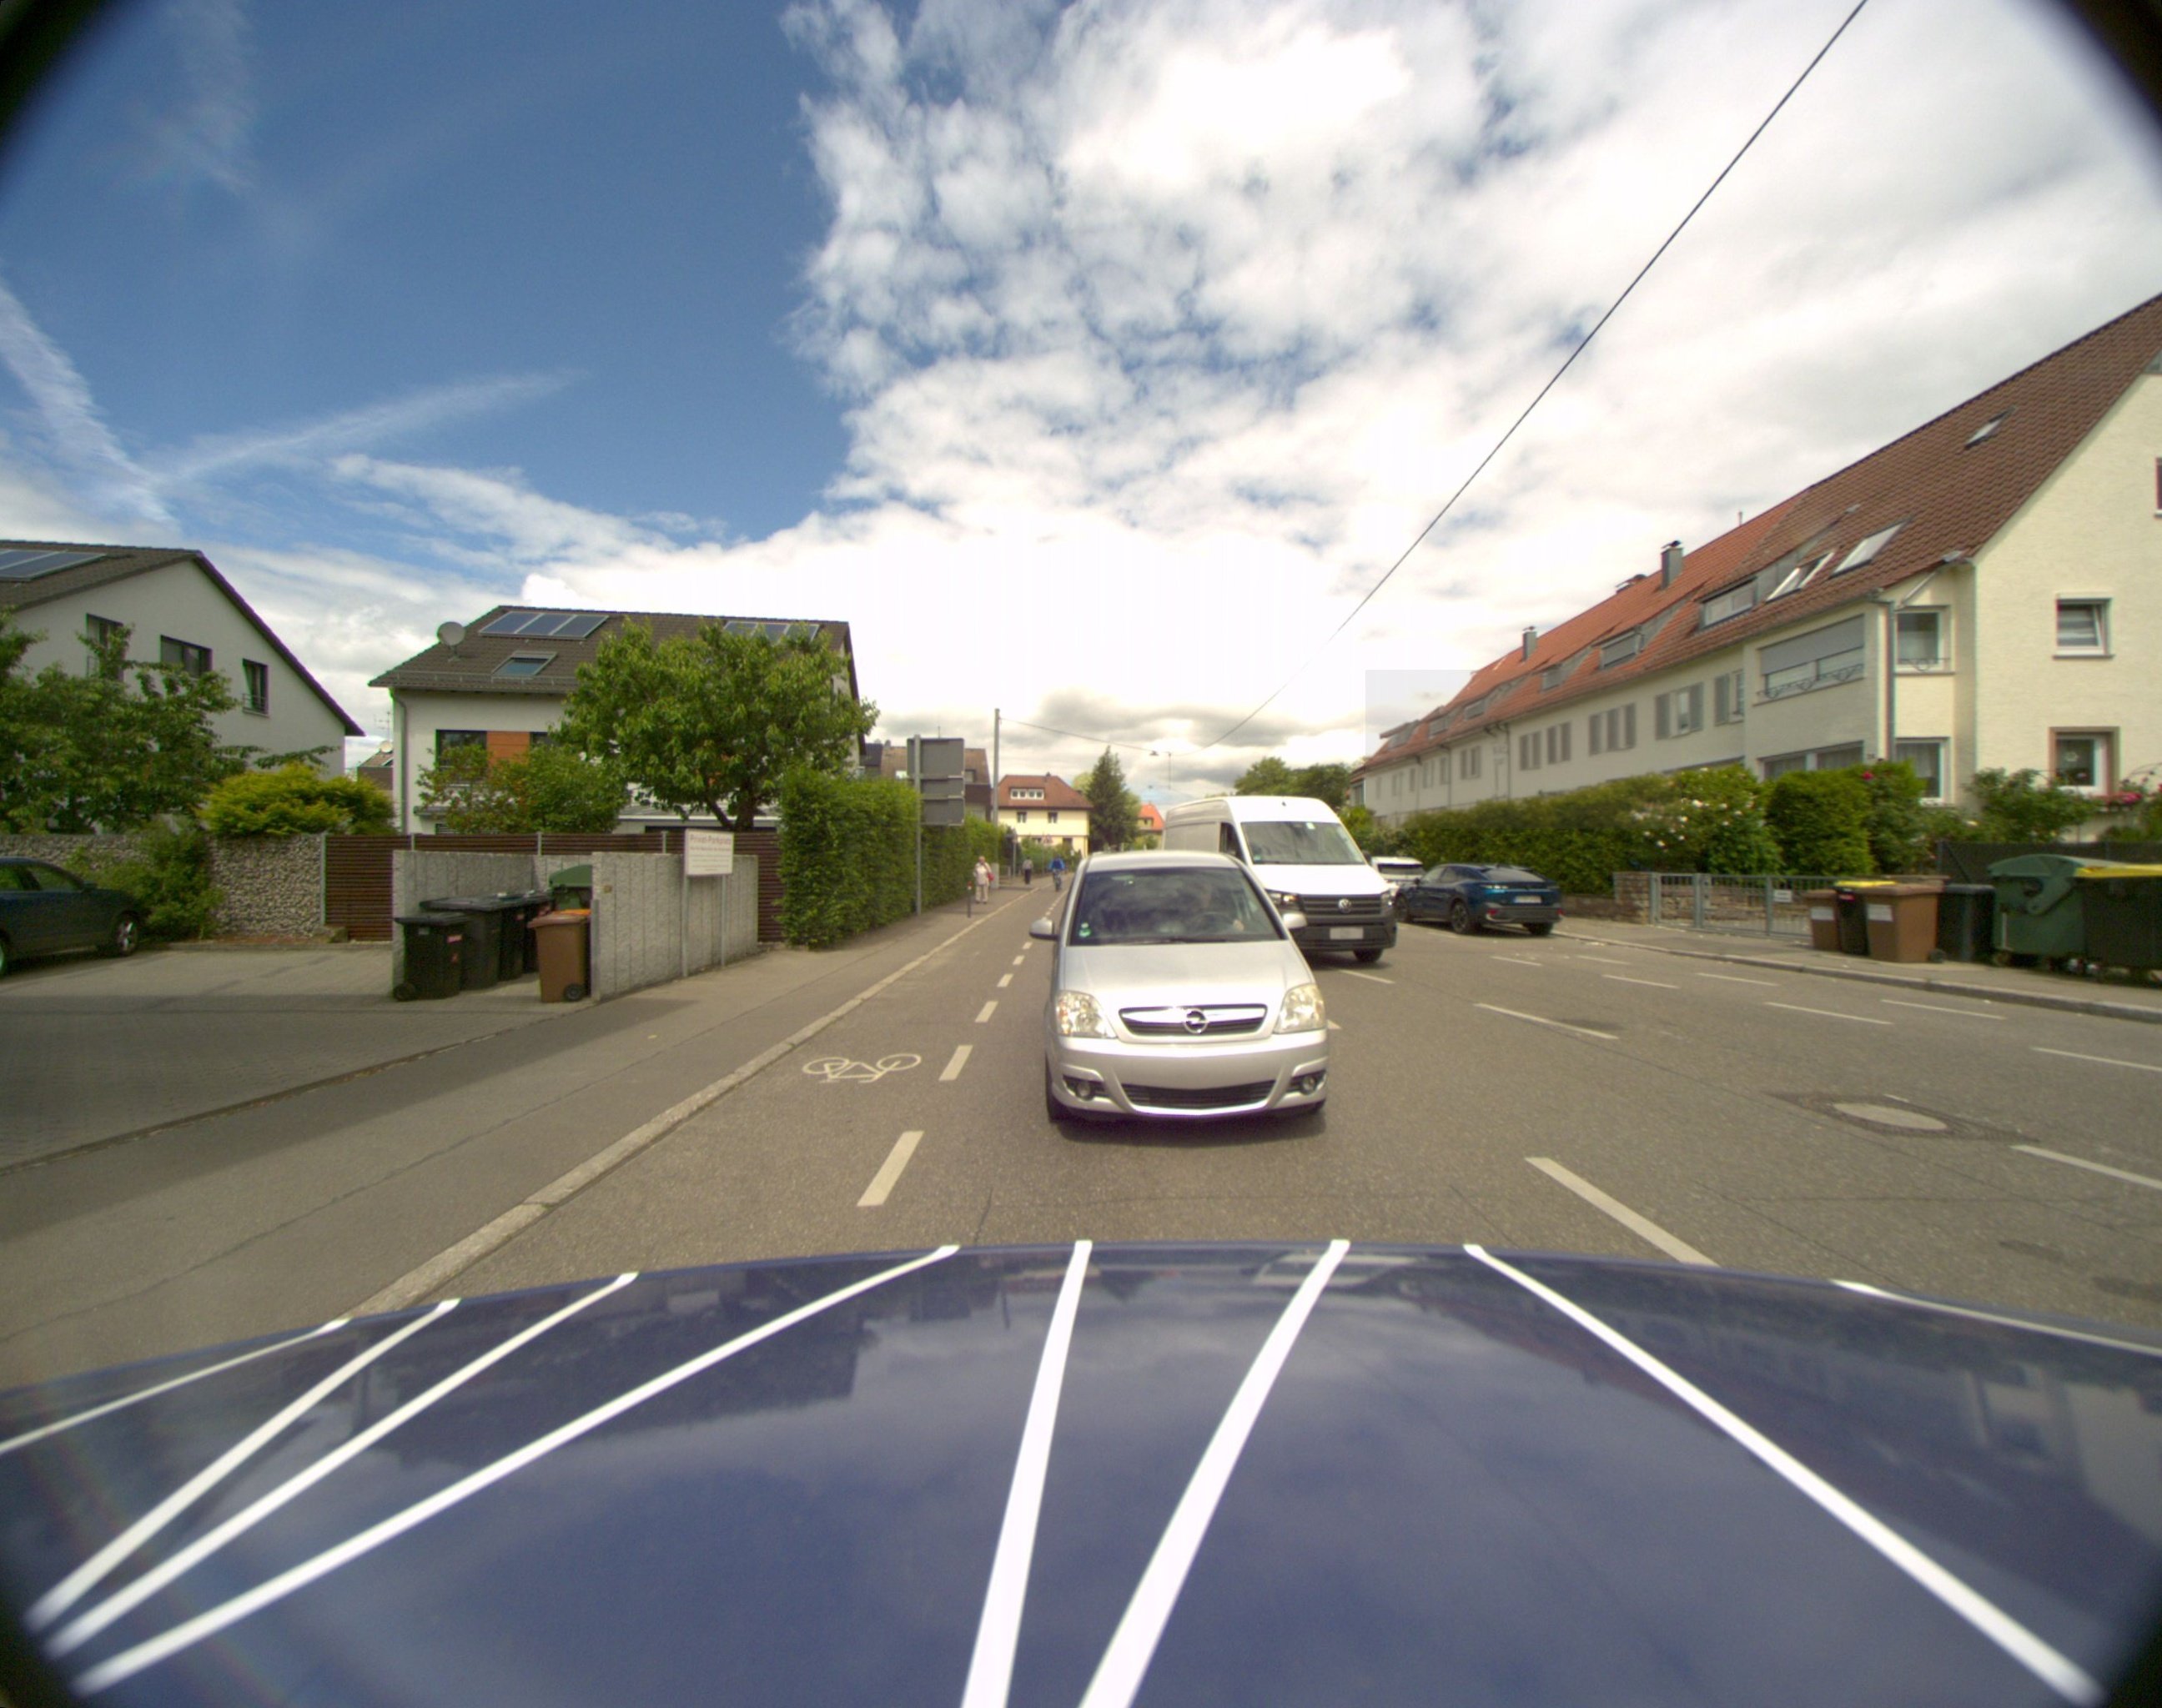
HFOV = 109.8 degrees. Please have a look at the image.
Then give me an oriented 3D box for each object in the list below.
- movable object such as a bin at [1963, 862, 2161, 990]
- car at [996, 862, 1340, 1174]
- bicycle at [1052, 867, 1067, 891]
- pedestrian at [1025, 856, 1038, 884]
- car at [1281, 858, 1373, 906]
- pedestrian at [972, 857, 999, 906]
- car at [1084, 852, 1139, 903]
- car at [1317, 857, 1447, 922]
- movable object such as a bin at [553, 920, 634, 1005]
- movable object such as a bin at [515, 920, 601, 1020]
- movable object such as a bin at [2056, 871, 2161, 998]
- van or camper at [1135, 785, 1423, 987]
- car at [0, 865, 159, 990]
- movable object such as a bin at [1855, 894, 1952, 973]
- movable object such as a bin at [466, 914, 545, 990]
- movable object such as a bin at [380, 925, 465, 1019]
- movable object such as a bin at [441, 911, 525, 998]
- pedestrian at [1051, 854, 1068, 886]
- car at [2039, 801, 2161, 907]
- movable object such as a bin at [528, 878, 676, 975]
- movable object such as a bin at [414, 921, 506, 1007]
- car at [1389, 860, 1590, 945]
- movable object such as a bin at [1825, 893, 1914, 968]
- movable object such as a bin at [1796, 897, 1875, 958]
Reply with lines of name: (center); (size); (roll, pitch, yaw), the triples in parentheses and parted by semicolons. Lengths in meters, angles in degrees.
movable object such as a bin: (12.192, 0.843, 9.429); (1.068, 1.473, 1.214); (0, 0, -1)
car: (0.598, 0.876, 6.051); (1.707, 1.531, 4.332); (-2, 0, 4)
bicycle: (-1.026, 1.194, 36.630); (0.536, 1.039, 2.409); (-1, 0, 2)
pedestrian: (-2.920, 0.923, 44.773); (0.604, 1.596, 0.836); (2, 1, 2)
car: (8.667, 0.925, 27.248); (1.998, 1.555, 4.690); (0, 0, 3)
pedestrian: (-3.183, 0.913, 25.363); (0.800, 1.608, 0.653); (1, 1, 2)
car: (1.081, 0.818, 28.811); (1.781, 1.760, 4.189); (0, 0, -2)
car: (8.477, 0.927, 21.873); (1.998, 1.641, 4.517); (0, 0, 1)
movable object such as a bin: (-5.718, 1.254, 8.946); (0.533, 0.887, 0.679); (-1, 0, -5)
movable object such as a bin: (-5.613, 1.226, 8.186); (0.534, 0.945, 0.686); (-1, 0, -13)
movable object such as a bin: (11.821, 0.851, 8.186); (1.067, 1.305, 1.214); (0, 0, 2)
van or camper: (2.813, 0.461, 12.736); (2.032, 2.564, 5.916); (-1, -1, -14)
car: (-14.689, 0.932, 9.990); (1.790, 1.527, 3.789); (0, 0, -25)
movable object such as a bin: (11.141, 1.064, 10.308); (0.597, 1.001, 0.658); (0, 0, 1)
movable object such as a bin: (-7.425, 1.250, 9.827); (0.635, 0.887, 0.539); (-1, 1, -16)
movable object such as a bin: (-7.081, 1.249, 8.195); (0.494, 0.907, 0.539); (-1, 1, -16)
movable object such as a bin: (-7.288, 1.212, 9.293); (0.629, 0.962, 0.539); (-1, 1, -16)
pedestrian: (-1.037, 0.772, 36.561); (0.736, 1.508, 0.872); (-1, 1, 1)
car: (19.363, -0.050, 12.867); (3.997, 1.696, 1.803); (-1, 0, 0)
movable object such as a bin: (-6.928, 1.008, 11.115); (1.192, 1.255, 1.535); (-1, 0, -2)
movable object such as a bin: (-7.137, 1.247, 8.760); (0.635, 0.887, 0.539); (-1, 1, -16)
car: (8.728, 0.951, 16.791); (1.999, 1.578, 4.488); (0, 0, -1)
movable object such as a bin: (11.364, 1.087, 10.974); (0.597, 1.018, 0.658); (0, 0, 1)
movable object such as a bin: (11.524, 1.110, 11.628); (0.597, 0.874, 0.614); (0, 0, 1)
